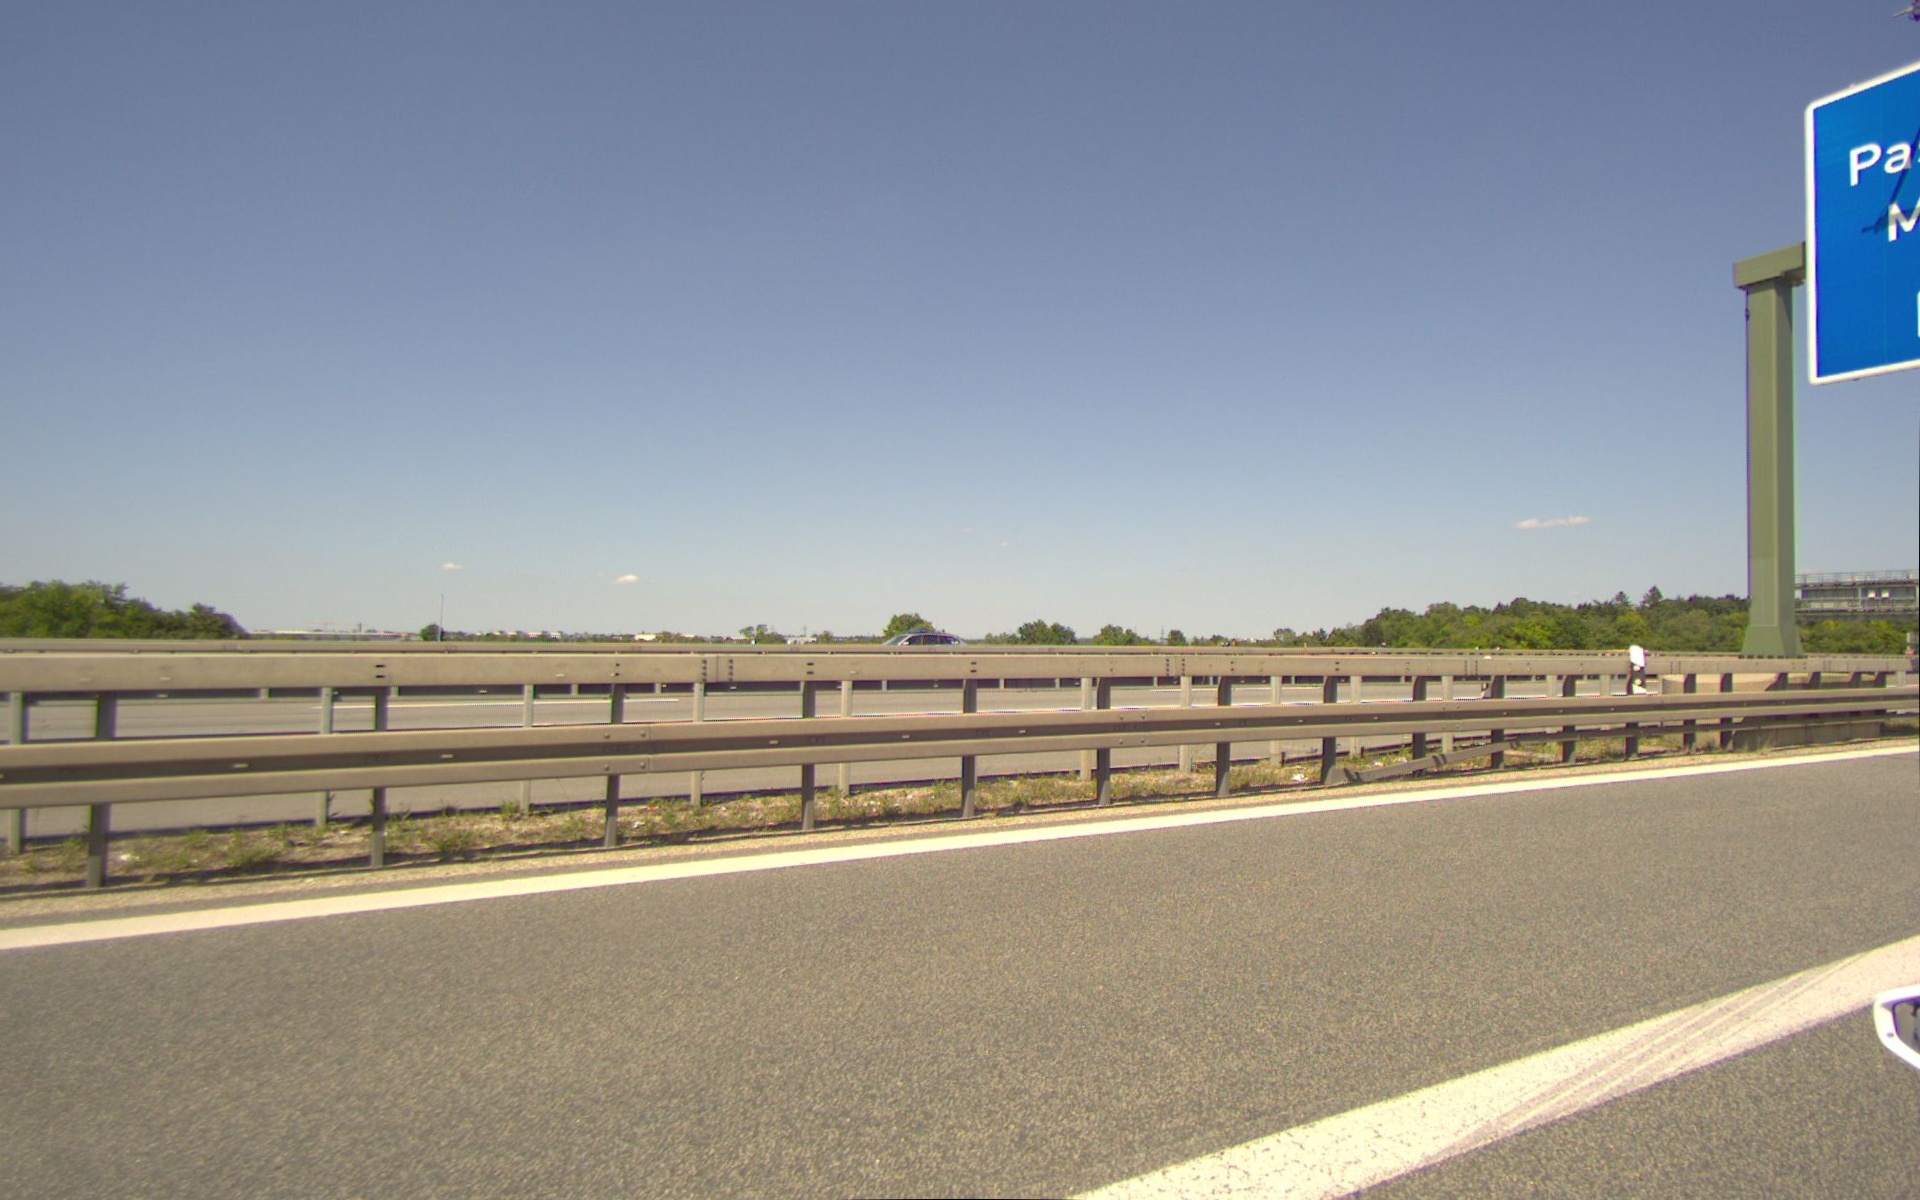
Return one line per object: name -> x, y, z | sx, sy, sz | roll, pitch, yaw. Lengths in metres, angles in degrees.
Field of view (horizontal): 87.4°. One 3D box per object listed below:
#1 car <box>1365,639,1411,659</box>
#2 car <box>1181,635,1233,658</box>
car -> 32.723, 3.782, 76.804 | 3.305, 1.371, 1.571 | 4, -4, -30
car -> 17.049, 3.212, 69.433 | 3.305, 1.371, 1.571 | 4, -4, -30
